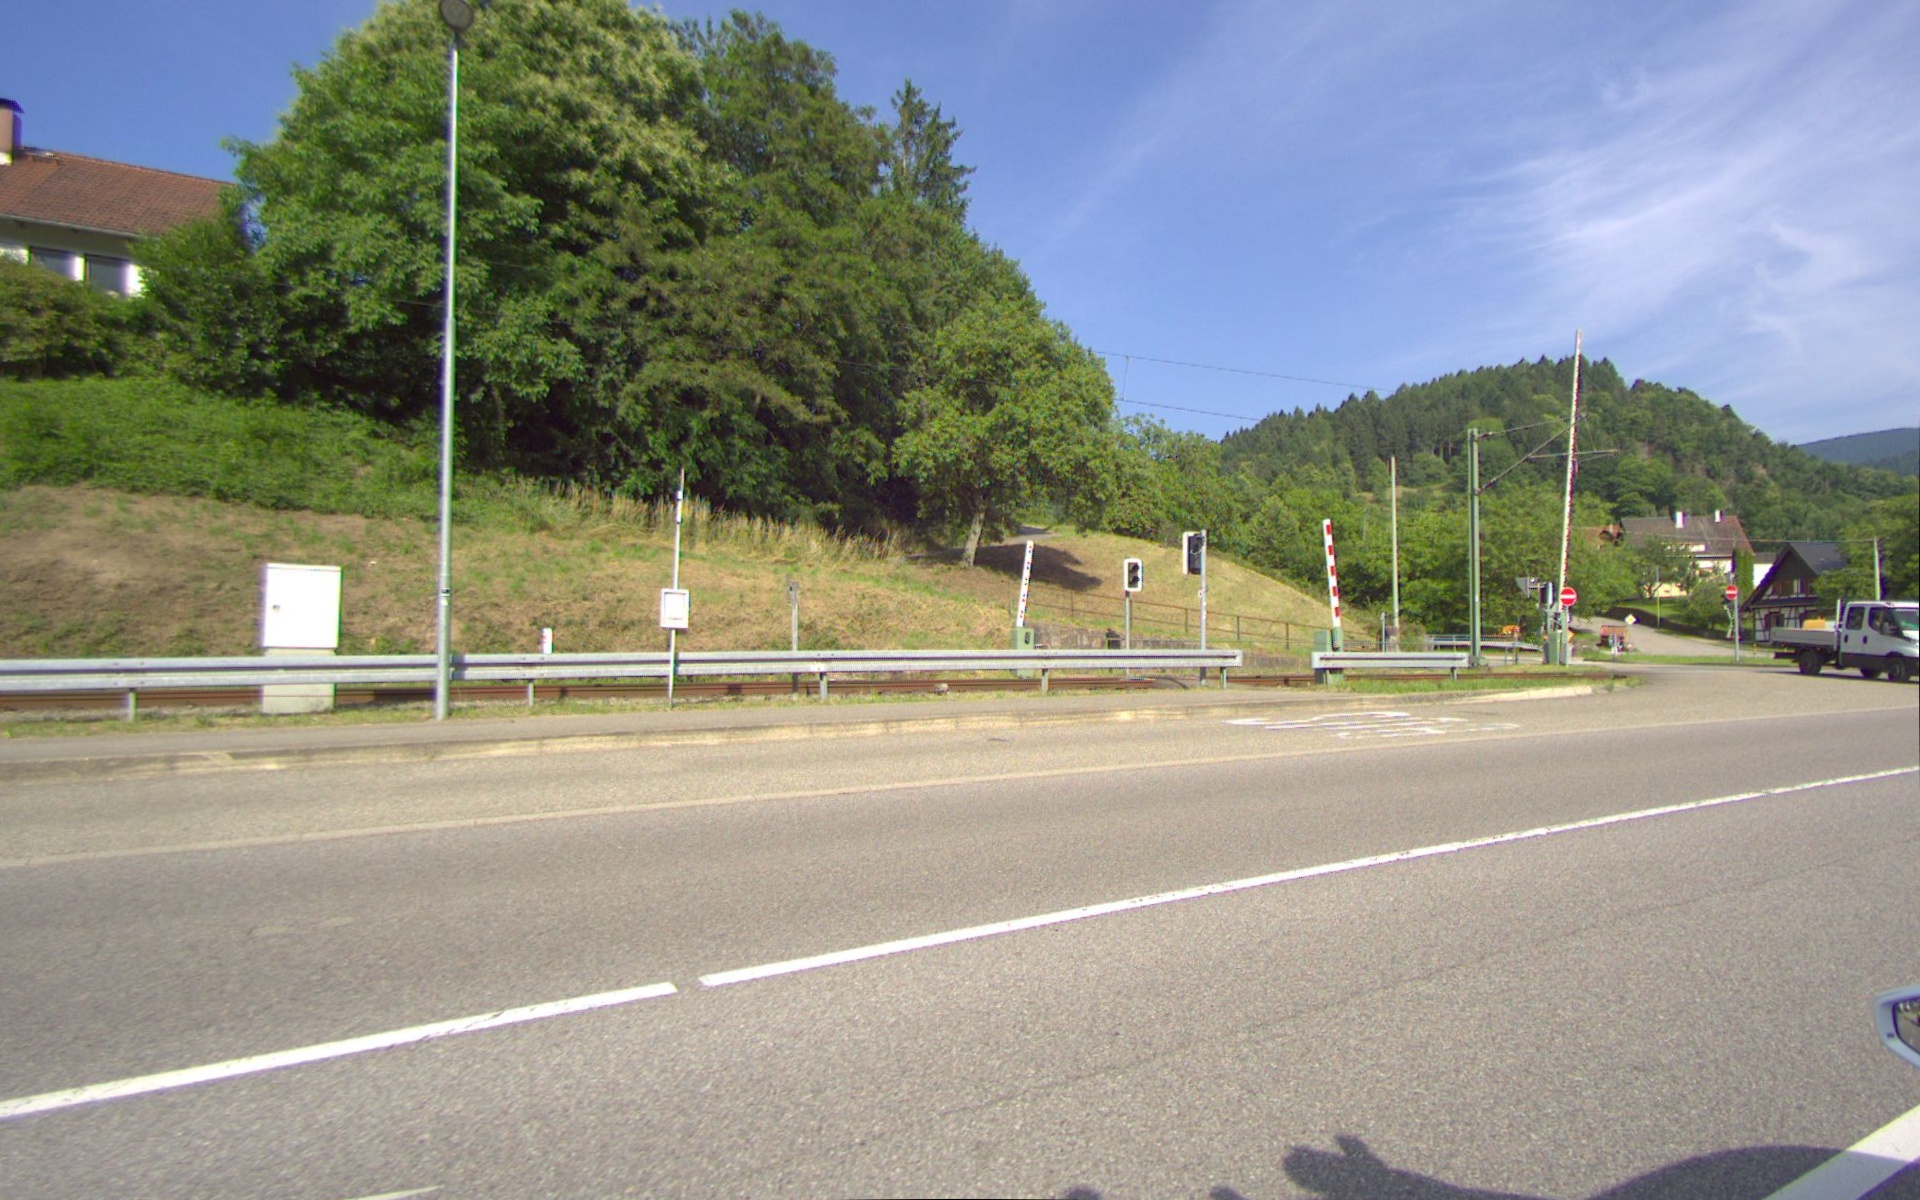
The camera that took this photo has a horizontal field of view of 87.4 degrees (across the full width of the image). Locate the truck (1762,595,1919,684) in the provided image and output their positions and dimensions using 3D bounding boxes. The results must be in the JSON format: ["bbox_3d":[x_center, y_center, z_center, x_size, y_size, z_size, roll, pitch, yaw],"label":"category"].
[{"bbox_3d":[26.271,1.109,28.994,1.959,2.296,6.007,1,-1,7],"label":"truck"}]
